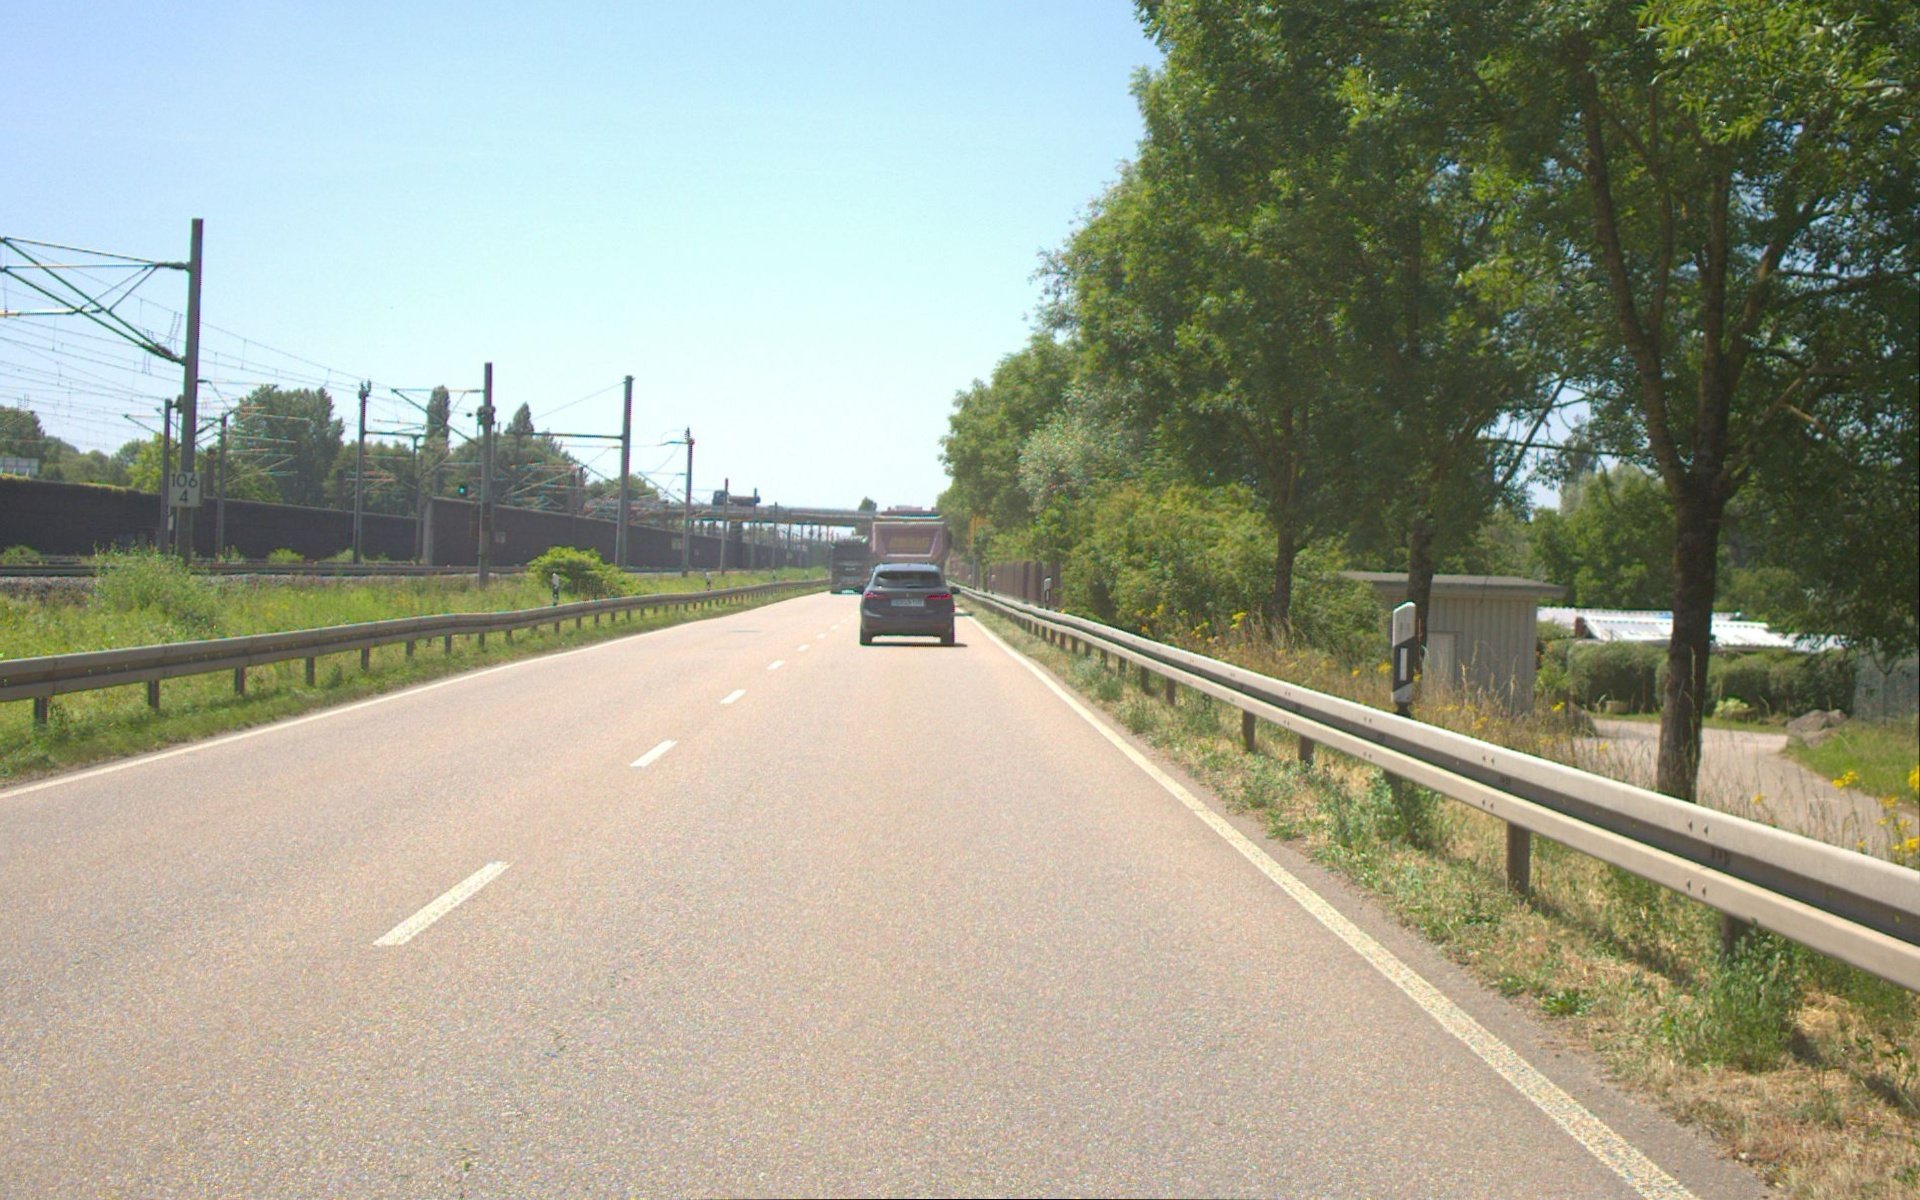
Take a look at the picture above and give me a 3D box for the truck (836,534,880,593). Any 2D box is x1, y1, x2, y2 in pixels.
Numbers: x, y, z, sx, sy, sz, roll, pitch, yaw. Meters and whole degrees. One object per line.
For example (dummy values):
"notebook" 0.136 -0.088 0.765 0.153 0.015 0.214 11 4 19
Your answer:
"truck" -6.474 -2.341 218.548 2.658 3.614 10.978 1 1 -2

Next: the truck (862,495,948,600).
"truck" -1.890 -1.774 118.918 2.770 3.414 10.820 1 1 -1

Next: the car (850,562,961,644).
"car" -1.084 0.027 66.554 1.993 1.503 4.001 1 1 -3
